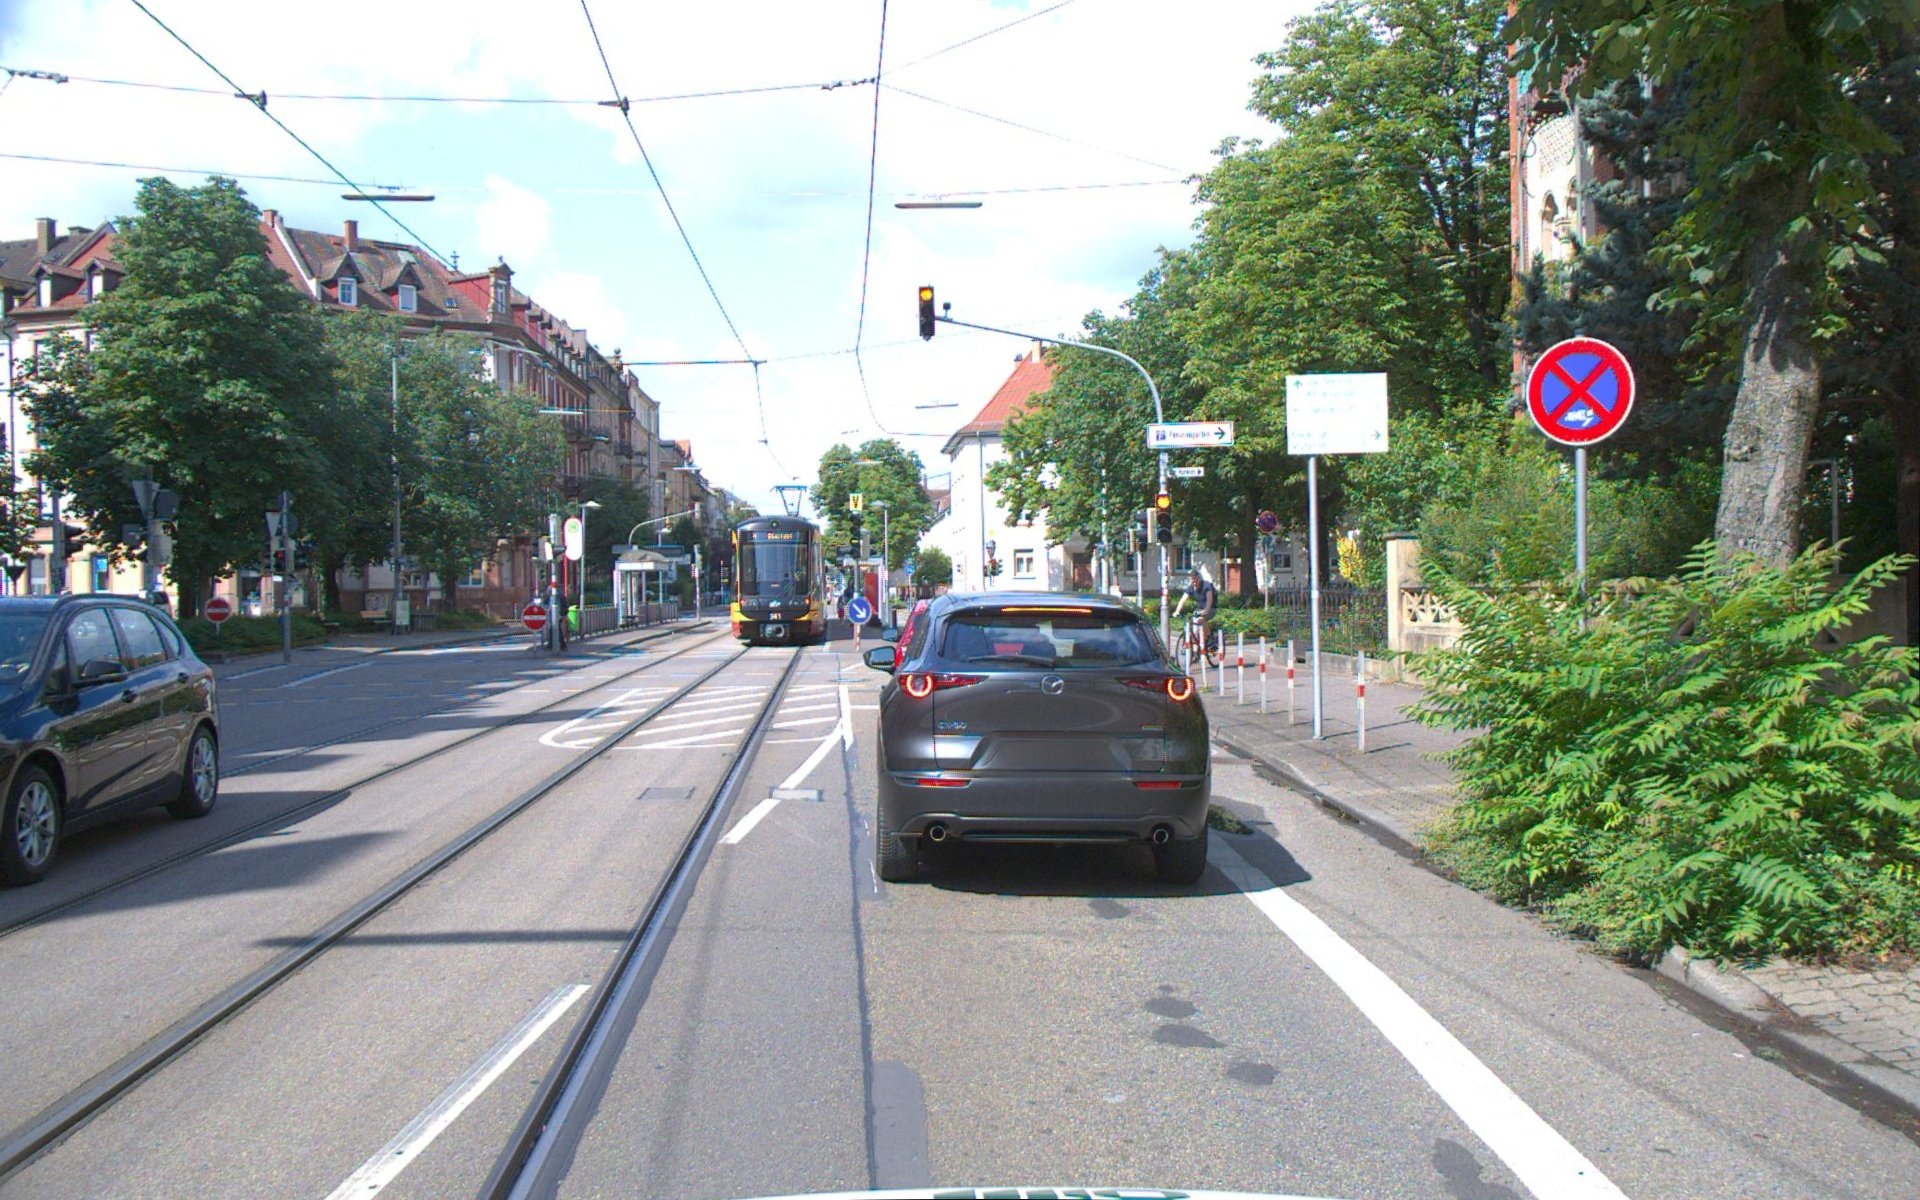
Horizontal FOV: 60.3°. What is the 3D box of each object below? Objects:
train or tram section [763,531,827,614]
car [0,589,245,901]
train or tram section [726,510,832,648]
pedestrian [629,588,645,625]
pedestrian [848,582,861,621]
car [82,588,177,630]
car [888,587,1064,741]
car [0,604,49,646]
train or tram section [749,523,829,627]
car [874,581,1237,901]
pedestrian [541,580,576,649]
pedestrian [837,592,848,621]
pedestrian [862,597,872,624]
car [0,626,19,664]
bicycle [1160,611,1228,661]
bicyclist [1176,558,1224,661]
[{"bbox_3d":[-7.790,-1.368,79.149,2.699,3.551,14.395,-1,1,-5],"label":"train or tram section"},{"bbox_3d":[-5.845,0.725,9.936,1.722,1.545,4.062,-1,0,-7],"label":"car"},{"bbox_3d":[-5.337,-0.713,50.481,2.699,3.551,14.395,-1,1,-5],"label":"train or tram section"},{"bbox_3d":[-12.550,0.258,64.313,0.420,1.423,0.397,-1,0,30],"label":"pedestrian"},{"bbox_3d":[-3.947,0.059,61.838,0.441,1.459,0.474,-1,0,-6],"label":"pedestrian"},{"bbox_3d":[-39.689,0.434,79.022,3.906,1.937,1.999,-1,0,23],"label":"car"},{"bbox_3d":[0.123,0.630,18.638,1.742,1.526,3.999,1,0,-1],"label":"car"},{"bbox_3d":[-39.362,1.017,66.850,3.906,1.624,2.000,-1,0,-1],"label":"car"},{"bbox_3d":[-6.544,-1.040,64.810,2.699,3.551,14.395,-1,1,-5],"label":"train or tram section"},{"bbox_3d":[0.425,0.672,10.037,1.742,1.526,3.999,1,0,-1],"label":"car"},{"bbox_3d":[-10.280,0.369,42.354,0.703,1.735,0.823,-1,0,-5],"label":"pedestrian"},{"bbox_3d":[-4.373,0.240,61.631,0.372,1.089,0.474,-1,0,-5],"label":"pedestrian"},{"bbox_3d":[-3.496,0.402,62.229,0.372,1.001,0.474,-1,0,-6],"label":"pedestrian"},{"bbox_3d":[-32.029,1.498,53.212,1.641,1.203,3.993,-1,0,-8],"label":"car"},{"bbox_3d":[4.197,0.634,29.597,0.484,0.838,1.693,-1,0,35],"label":"bicycle"},{"bbox_3d":[4.318,0.174,29.765,0.644,1.824,0.608,-1,0,34],"label":"bicyclist"}]
